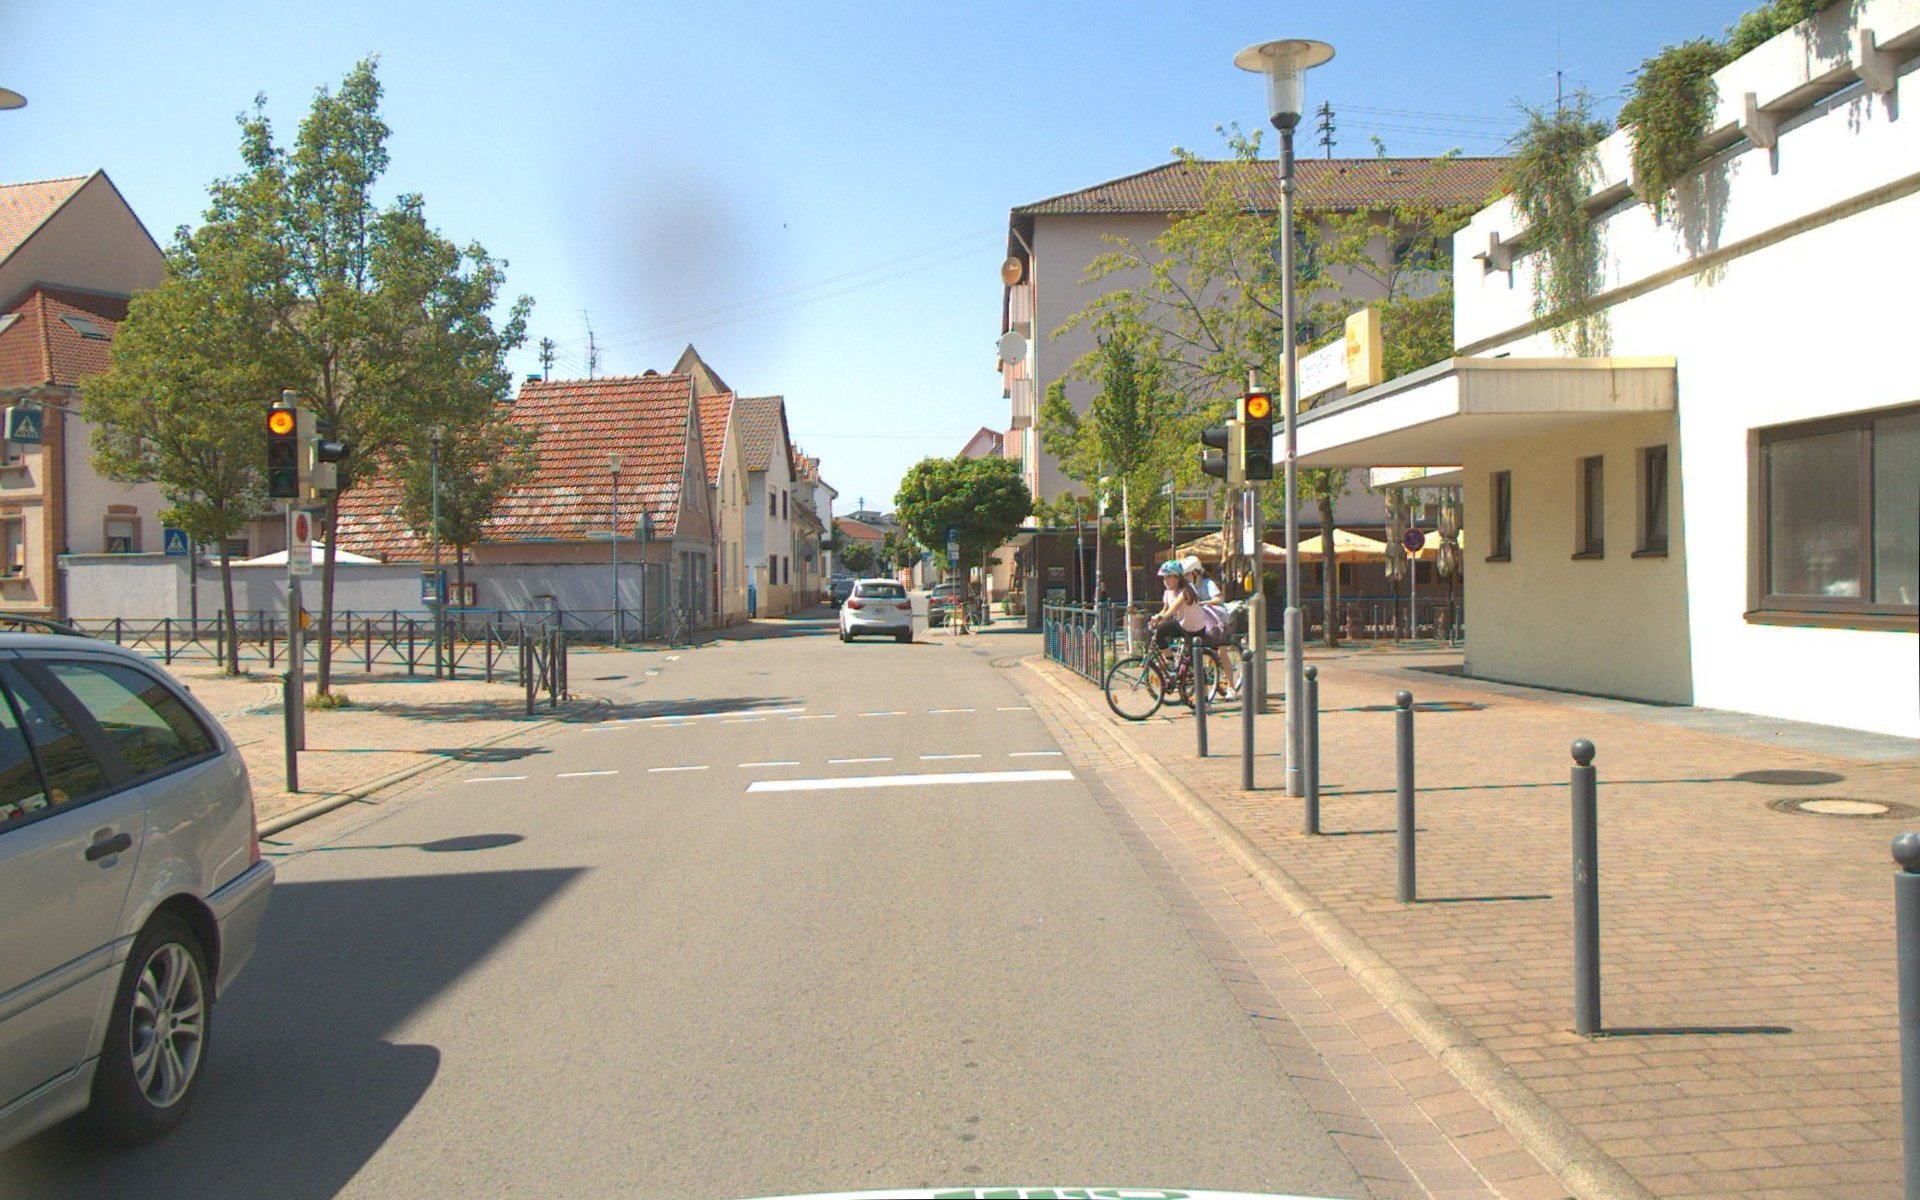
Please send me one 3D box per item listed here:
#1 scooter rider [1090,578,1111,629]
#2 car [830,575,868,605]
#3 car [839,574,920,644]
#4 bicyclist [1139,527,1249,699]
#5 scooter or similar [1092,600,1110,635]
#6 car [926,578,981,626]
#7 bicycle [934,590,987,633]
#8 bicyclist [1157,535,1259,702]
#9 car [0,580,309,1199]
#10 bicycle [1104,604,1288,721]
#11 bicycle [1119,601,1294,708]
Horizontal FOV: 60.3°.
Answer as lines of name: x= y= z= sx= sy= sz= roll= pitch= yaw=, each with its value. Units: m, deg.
scooter rider: x=3.676 y=0.082 z=43.203 sx=0.505 sy=1.308 sz=0.418 roll=-1 pitch=0 yaw=9
car: x=-5.865 y=-0.559 z=87.760 sx=1.678 sy=1.543 sz=3.787 roll=-1 pitch=1 yaw=1
car: x=-2.153 y=0.206 z=43.144 sx=1.799 sy=1.680 sz=3.994 roll=-1 pitch=1 yaw=-7
bicyclist: x=2.293 y=0.115 z=16.193 sx=0.754 sy=1.609 sz=0.662 roll=-4 pitch=2 yaw=-38
scooter or similar: x=3.688 y=0.452 z=43.215 sx=0.370 sy=0.889 sz=0.891 roll=-1 pitch=0 yaw=10
car: x=-0.182 y=0.029 z=56.713 sx=1.767 sy=1.527 sz=4.001 roll=-1 pitch=1 yaw=1
bicycle: x=0.006 y=0.335 z=47.942 sx=0.523 sy=1.214 sz=1.648 roll=-1 pitch=1 yaw=-44
bicyclist: x=2.614 y=0.182 z=17.461 sx=0.753 sy=1.693 sz=0.662 roll=-3 pitch=1 yaw=-36
car: x=-3.010 y=0.732 z=3.228 sx=1.843 sy=1.490 sz=4.433 roll=-2 pitch=0 yaw=-3
bicycle: x=2.332 y=0.587 z=16.204 sx=1.878 sy=0.974 sz=0.666 roll=-4 pitch=2 yaw=-39
bicycle: x=2.615 y=0.553 z=17.463 sx=1.875 sy=0.974 sz=0.667 roll=-4 pitch=1 yaw=-36
